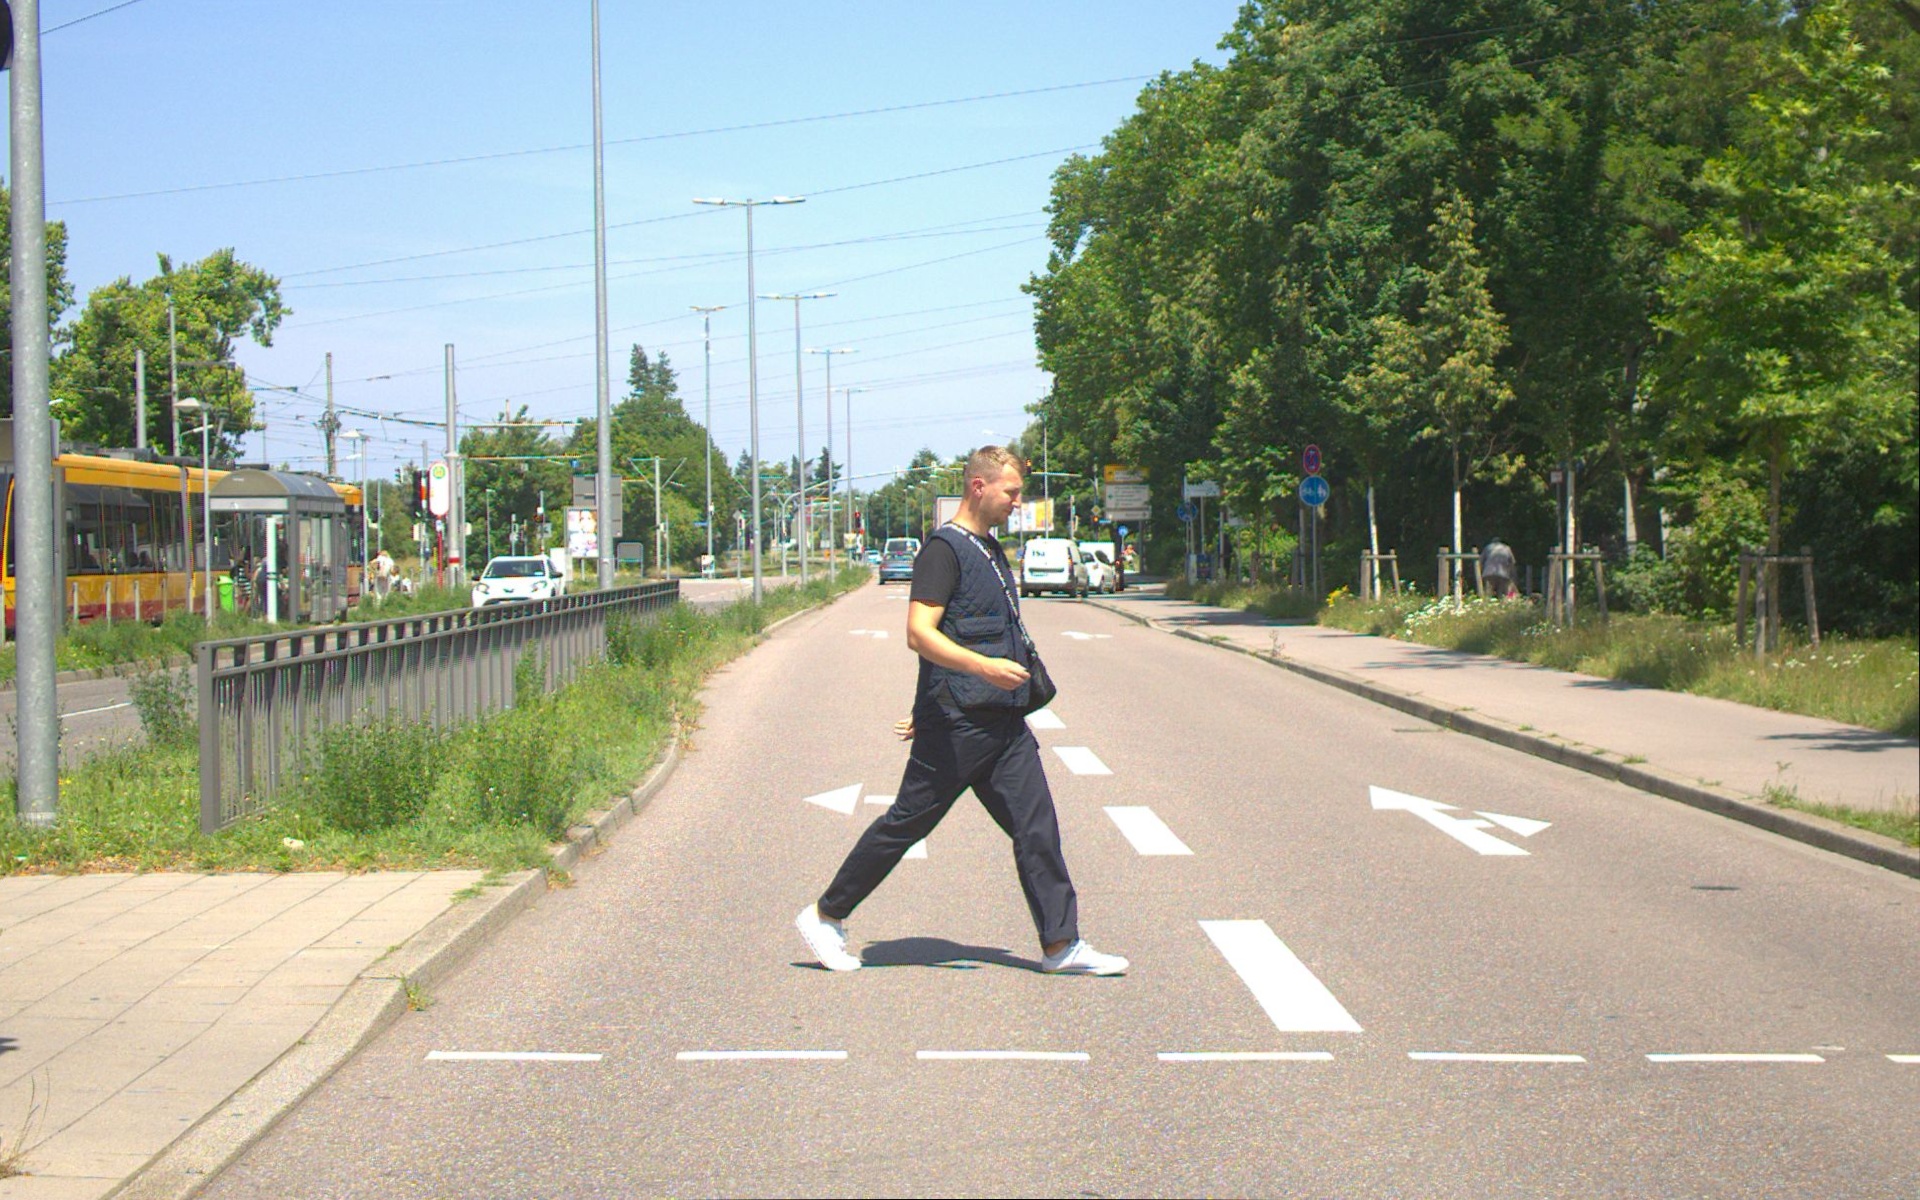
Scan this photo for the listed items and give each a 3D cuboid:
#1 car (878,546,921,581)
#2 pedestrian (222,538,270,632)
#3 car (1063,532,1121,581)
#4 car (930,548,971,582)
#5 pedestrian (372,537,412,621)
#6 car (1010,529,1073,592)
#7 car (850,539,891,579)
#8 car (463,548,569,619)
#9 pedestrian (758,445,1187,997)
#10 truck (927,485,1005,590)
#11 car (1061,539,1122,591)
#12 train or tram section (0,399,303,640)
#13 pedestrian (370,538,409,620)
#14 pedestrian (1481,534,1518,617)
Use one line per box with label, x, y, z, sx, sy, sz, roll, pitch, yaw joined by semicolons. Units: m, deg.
car;-2.588;-1.560;147.123;1.811;1.459;4.000;0;1;-1
pedestrian;-14.371;-0.309;69.195;0.785;1.862;0.817;0;1;-1
car;4.547;-1.524;118.798;1.779;1.663;4.000;0;1;-1
car;-0.434;-1.568;153.626;1.811;1.459;4.000;0;1;-1
pedestrian;-13.817;-0.515;83.663;0.815;2.007;0.938;0;1;-1
car;2.470;-1.230;105.470;1.779;1.897;4.000;0;1;-1
car;-4.555;-2.086;175.174;1.993;2.007;4.000;0;1;-1
car;-9.626;-0.384;74.796;1.845;1.489;3.791;0;1;-1
pedestrian;0.048;0.387;11.700;1.187;1.772;0.838;0;-1;30
truck;0.211;-2.643;146.119;3.205;4.344;6.561;0;1;-1
car;4.297;-1.159;112.454;1.779;1.663;4.000;0;1;-1
train or tram section;-16.592;-1.419;63.452;2.931;3.776;33.090;0;1;-1
pedestrian;-14.096;-0.532;84.957;0.815;2.007;0.938;0;1;-1
pedestrian;9.395;-0.434;59.841;0.604;1.433;0.556;0;1;6
